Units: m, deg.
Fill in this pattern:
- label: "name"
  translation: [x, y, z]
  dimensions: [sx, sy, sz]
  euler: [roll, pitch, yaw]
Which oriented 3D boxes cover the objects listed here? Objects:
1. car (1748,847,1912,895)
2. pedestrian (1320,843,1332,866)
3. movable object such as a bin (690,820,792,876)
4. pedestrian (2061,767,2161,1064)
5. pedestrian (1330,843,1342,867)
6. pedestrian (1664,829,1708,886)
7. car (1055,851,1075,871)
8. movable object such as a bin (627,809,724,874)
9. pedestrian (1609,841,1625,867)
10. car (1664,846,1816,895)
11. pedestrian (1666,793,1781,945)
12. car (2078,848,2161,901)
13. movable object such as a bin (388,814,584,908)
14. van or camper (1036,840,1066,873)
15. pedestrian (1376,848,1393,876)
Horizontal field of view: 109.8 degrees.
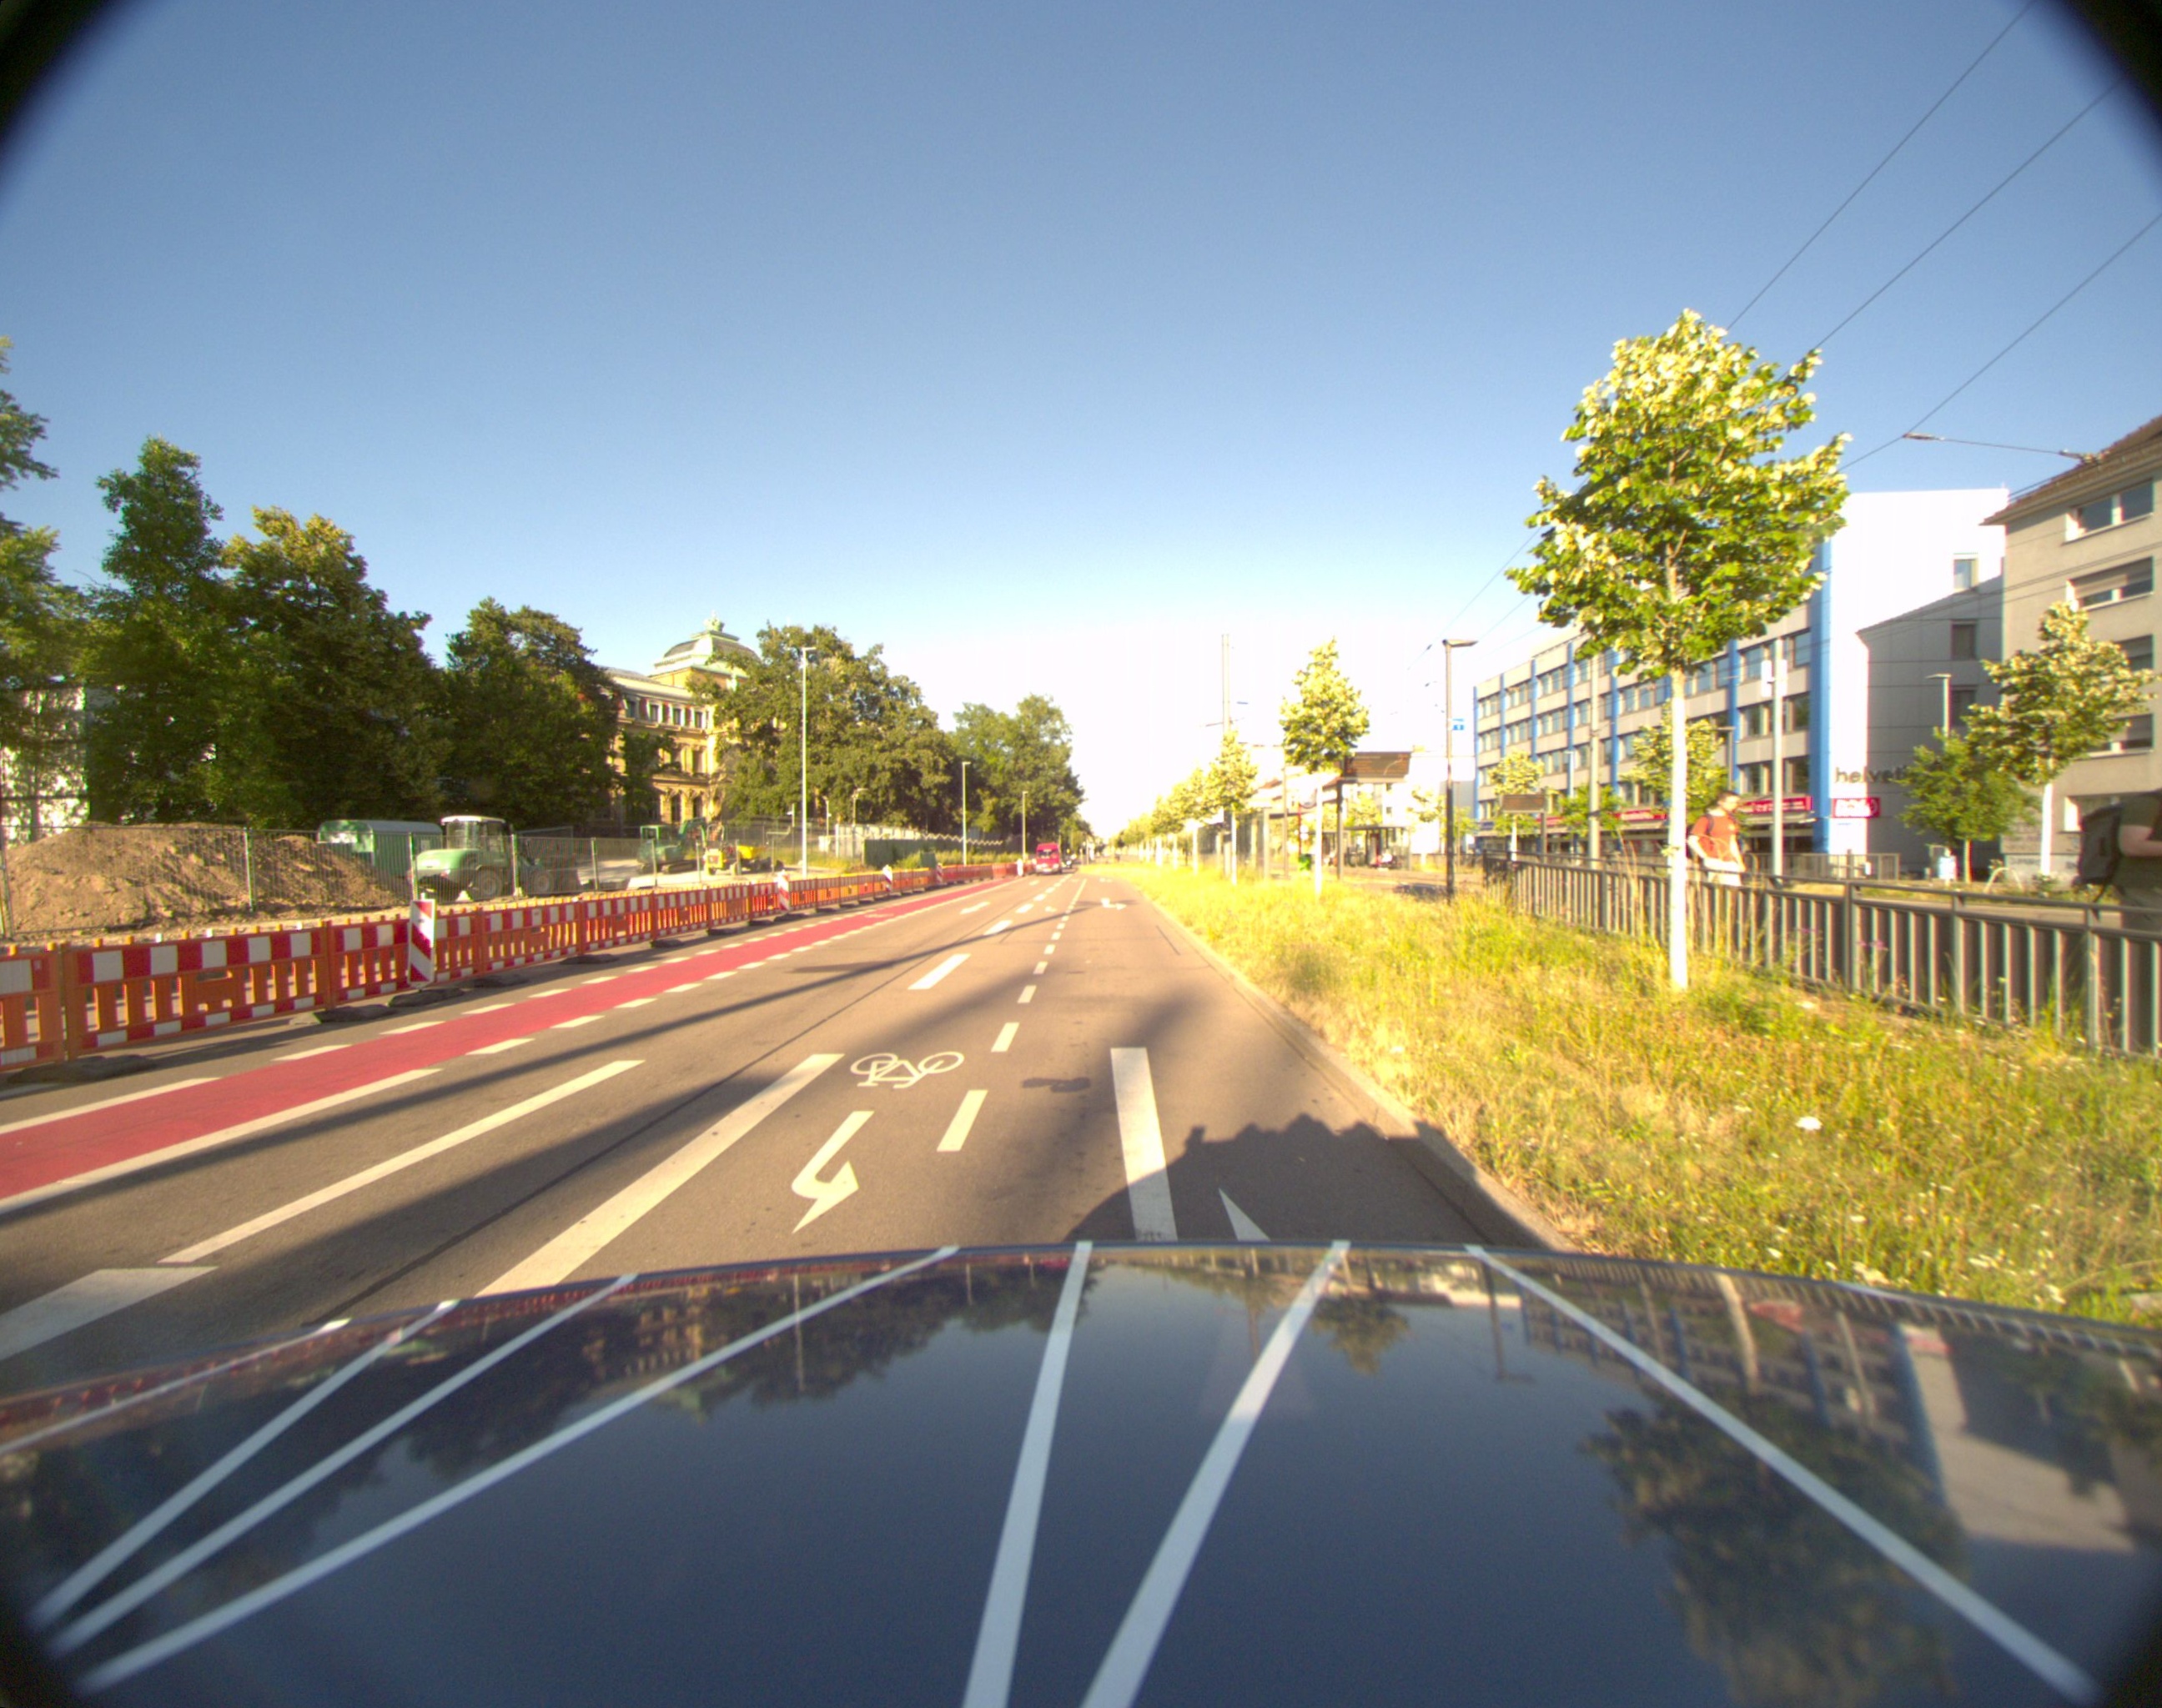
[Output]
- label: "car"
  translation: [26.074, 0.542, 26.680]
  dimensions: [1.886, 1.499, 3.942]
  euler: [-2, 1, 1]
- label: "pedestrian"
  translation: [18.668, 0.044, 57.849]
  dimensions: [0.659, 1.682, 0.772]
  euler: [-2, 1, 4]
- label: "movable object such as a bin"
  translation: [-18.645, -0.355, 42.077]
  dimensions: [1.997, 2.800, 5.871]
  euler: [-2, 1, 11]
- label: "pedestrian"
  translation: [7.142, 0.371, 4.908]
  dimensions: [0.787, 1.853, 0.619]
  euler: [-2, 1, 4]
- label: "pedestrian"
  translation: [18.619, 0.072, 55.544]
  dimensions: [0.659, 1.682, 0.772]
  euler: [-2, 1, 7]
- label: "pedestrian"
  translation: [18.040, 0.102, 22.676]
  dimensions: [0.787, 1.663, 0.619]
  euler: [-2, 1, 4]
- label: "car"
  translation: [-1.761, 0.769, 84.291]
  dimensions: [1.998, 2.002, 3.999]
  euler: [-2, 1, 1]
- label: "movable object such as a bin"
  translation: [-22.424, -0.692, 42.312]
  dimensions: [1.998, 3.310, 5.376]
  euler: [-2, 1, 5]
- label: "pedestrian"
  translation: [36.670, 0.021, 51.988]
  dimensions: [0.645, 1.736, 0.599]
  euler: [-2, 1, 7]
- label: "car"
  translation: [22.820, 0.517, 26.542]
  dimensions: [1.886, 1.499, 3.942]
  euler: [-2, 1, 1]
- label: "pedestrian"
  translation: [7.497, 0.168, 8.896]
  dimensions: [0.787, 1.689, 0.619]
  euler: [-2, 1, 4]
- label: "car"
  translation: [33.179, 0.623, 22.744]
  dimensions: [1.886, 1.499, 3.674]
  euler: [-2, 1, 1]
- label: "movable object such as a bin"
  translation: [-19.044, 0.168, 24.724]
  dimensions: [1.998, 2.668, 5.015]
  euler: [-2, 1, 5]
- label: "van or camper"
  translation: [-2.367, 0.175, 61.758]
  dimensions: [1.998, 2.514, 5.913]
  euler: [-2, 1, 1]
- label: "pedestrian"
  translation: [18.248, 0.470, 45.624]
  dimensions: [0.660, 1.682, 0.772]
  euler: [-2, 1, -1]
